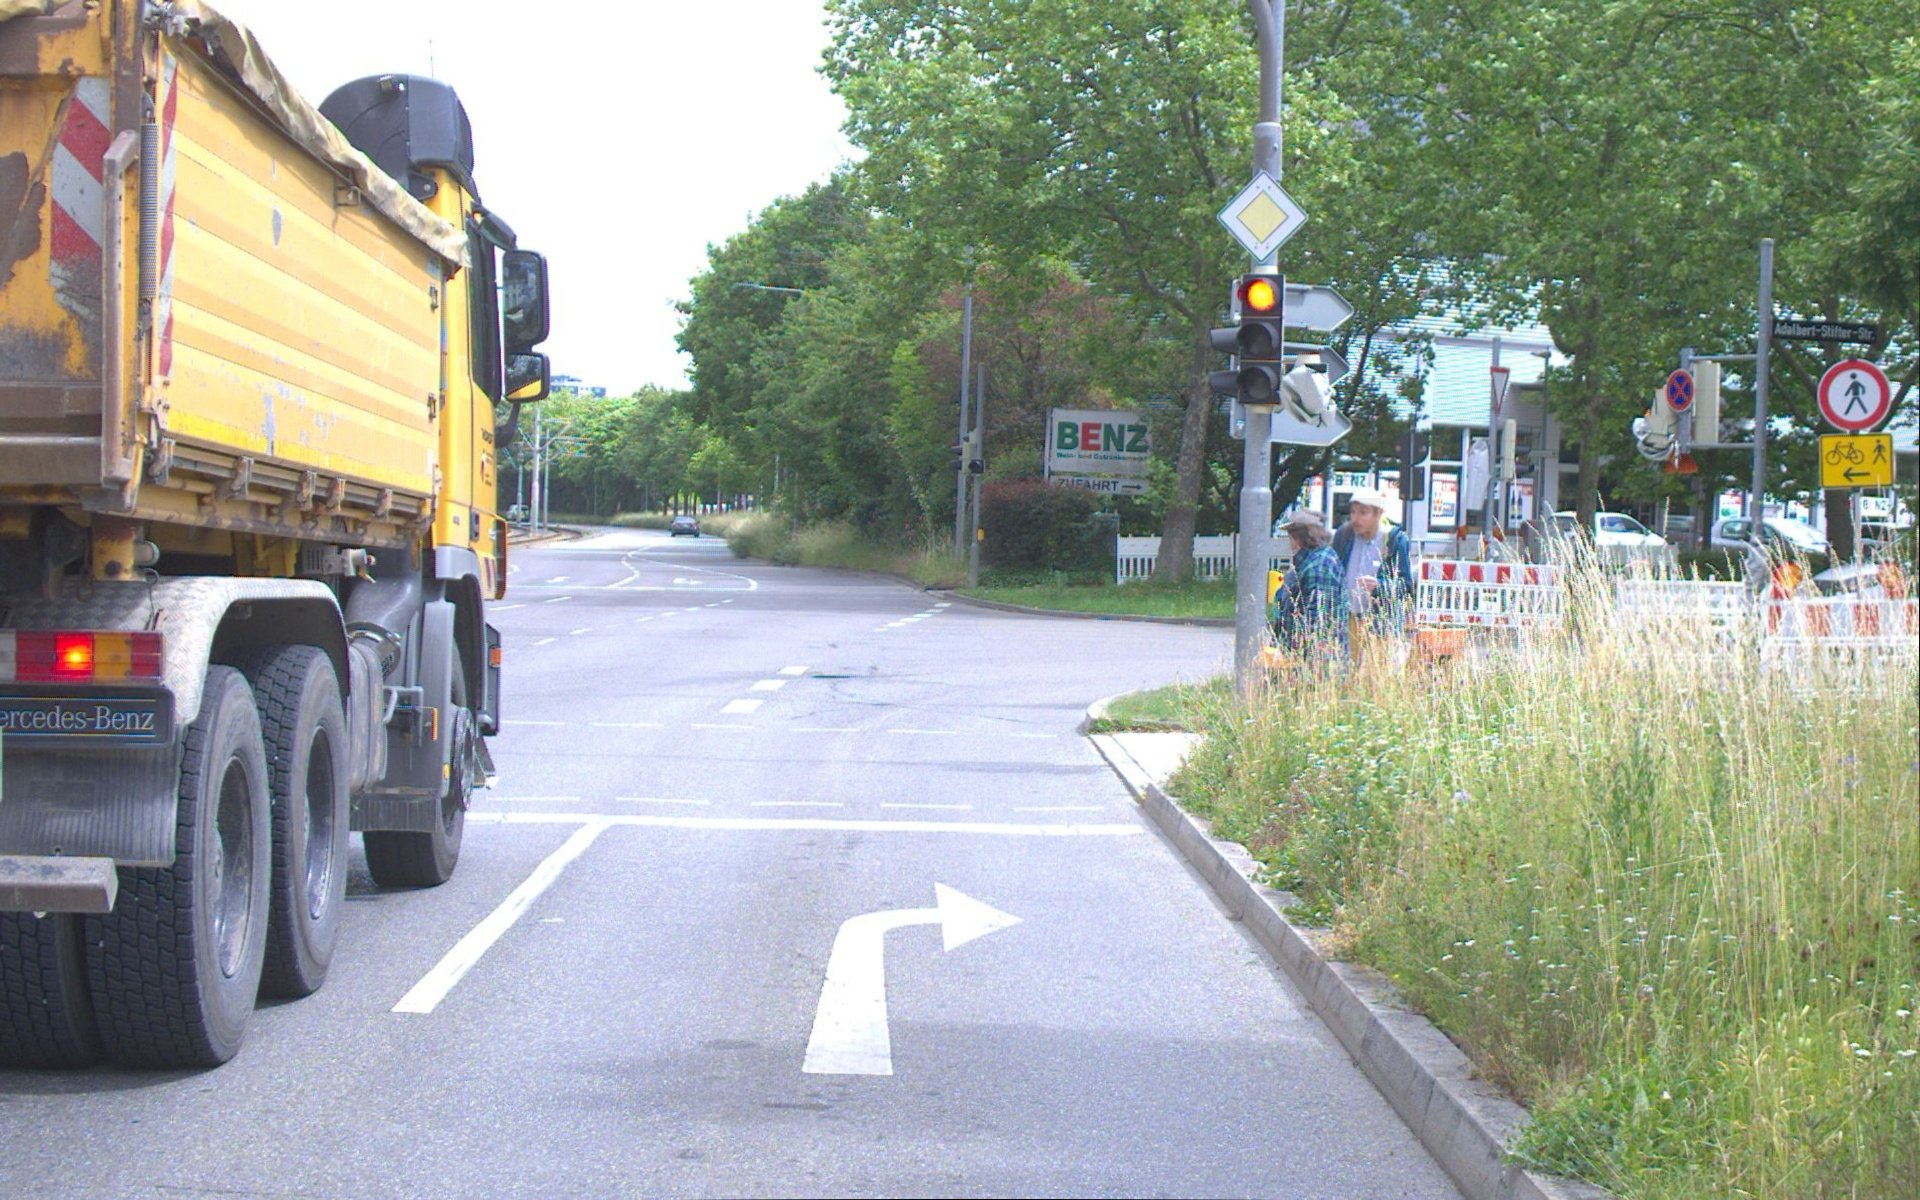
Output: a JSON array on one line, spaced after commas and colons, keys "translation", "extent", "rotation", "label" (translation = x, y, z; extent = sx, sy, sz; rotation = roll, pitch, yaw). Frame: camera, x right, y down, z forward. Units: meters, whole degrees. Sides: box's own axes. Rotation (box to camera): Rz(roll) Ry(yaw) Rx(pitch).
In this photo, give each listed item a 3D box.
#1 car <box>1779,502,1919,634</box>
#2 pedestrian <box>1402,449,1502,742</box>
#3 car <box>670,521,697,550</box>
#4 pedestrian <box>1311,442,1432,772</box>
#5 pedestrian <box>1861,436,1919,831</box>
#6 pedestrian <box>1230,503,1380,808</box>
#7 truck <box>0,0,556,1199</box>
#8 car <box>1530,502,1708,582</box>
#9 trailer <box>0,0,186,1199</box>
[{"translation": [12.782, -0.380, 44.104], "extent": [3.987, 1.601, 2.000], "rotation": [2, 1, -1], "label": "car"}, {"translation": [3.423, -0.033, 23.938], "extent": [0.499, 2.007, 0.492], "rotation": [2, 1, -10], "label": "pedestrian"}, {"translation": [-19.026, -4.447, 236.558], "extent": [1.689, 1.919, 4.001], "rotation": [2, 1, -5], "label": "car"}, {"translation": [2.553, 0.041, 21.361], "extent": [0.561, 2.007, 0.492], "rotation": [2, 1, -10], "label": "pedestrian"}, {"translation": [5.150, 0.171, 17.787], "extent": [0.671, 2.007, 0.635], "rotation": [2, 1, -10], "label": "pedestrian"}, {"translation": [1.922, 0.299, 19.126], "extent": [0.628, 1.647, 0.562], "rotation": [2, 1, 26], "label": "pedestrian"}, {"translation": [-3.223, -0.447, 11.757], "extent": [2.753, 3.302, 8.353], "rotation": [2, 1, -1], "label": "truck"}, {"translation": [15.808, -1.384, 82.416], "extent": [3.988, 1.776, 2.000], "rotation": [1, 2, -38], "label": "car"}, {"translation": [-3.001, -0.462, 1.941], "extent": [2.729, 3.546, 11.255], "rotation": [2, 2, -1], "label": "trailer"}]
